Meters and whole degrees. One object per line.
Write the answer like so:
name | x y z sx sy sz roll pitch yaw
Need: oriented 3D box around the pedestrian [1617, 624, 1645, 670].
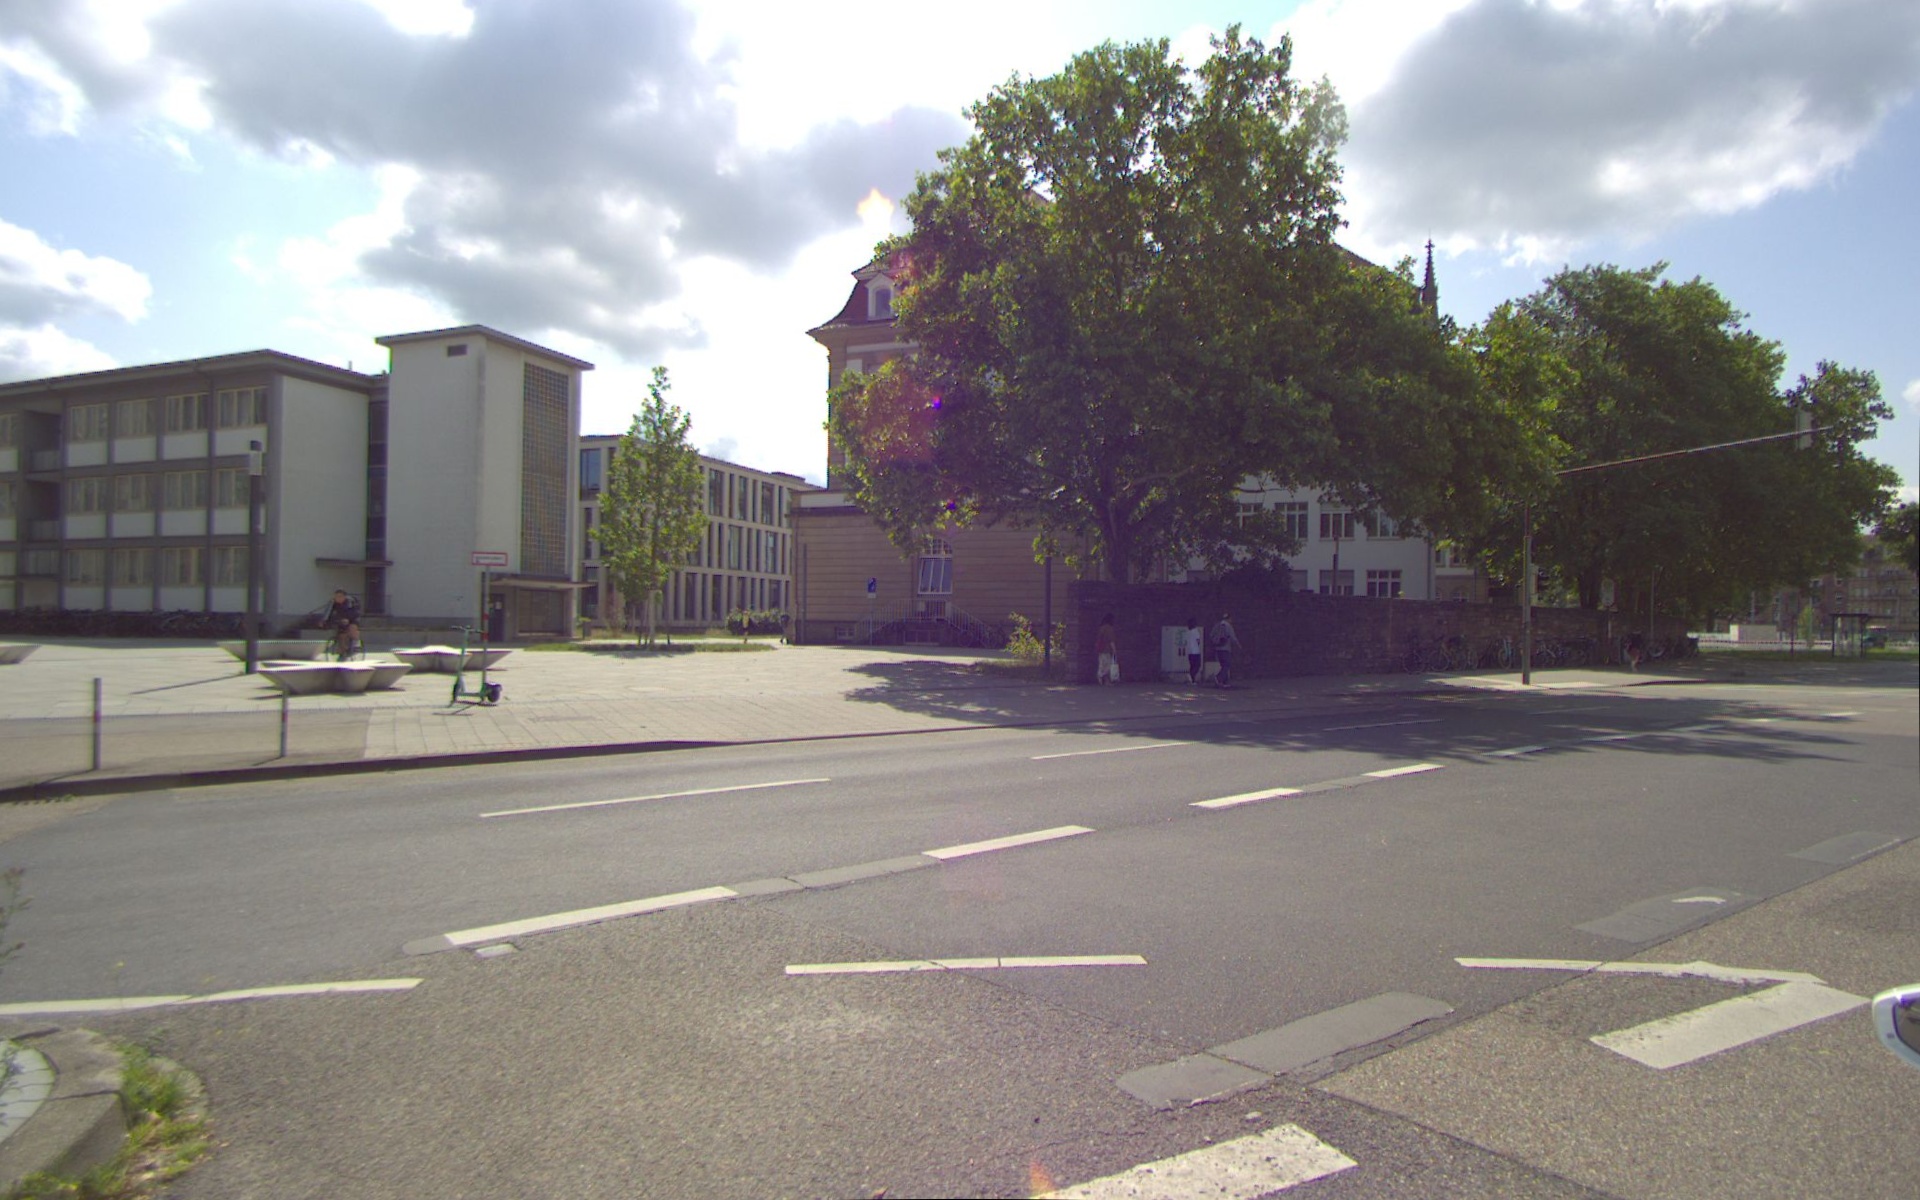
pedestrian | 24.351 1.683 36.454 0.738 1.631 0.651 2 0 -39

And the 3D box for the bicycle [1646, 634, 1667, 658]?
bicycle | 33.785 2.223 48.701 0.576 1.087 1.745 0 -1 43

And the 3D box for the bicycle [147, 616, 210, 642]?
bicycle | -31.721 1.171 40.812 0.683 1.027 1.909 0 -1 26

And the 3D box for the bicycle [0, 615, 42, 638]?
bicycle | -42.745 1.179 45.271 0.683 1.027 1.909 0 -1 26

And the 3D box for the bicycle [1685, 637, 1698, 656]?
bicycle | 42.537 2.705 58.406 0.575 1.087 1.625 0 -1 37

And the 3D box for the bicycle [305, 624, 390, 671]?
bicycle | -12.595 0.955 20.717 0.625 0.904 1.776 1 -1 1

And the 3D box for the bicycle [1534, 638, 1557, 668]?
bicycle | 21.640 1.953 37.121 0.584 1.062 1.876 0 -1 34

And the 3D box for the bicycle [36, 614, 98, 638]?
bicycle | -39.243 1.147 44.151 0.683 1.027 1.909 0 -1 26

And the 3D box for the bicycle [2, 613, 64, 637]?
bicycle | -41.430 1.119 44.901 0.683 1.027 1.909 0 -1 26

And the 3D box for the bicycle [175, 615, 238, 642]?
bicycle | -30.402 1.154 40.567 0.683 1.027 1.909 0 -1 26

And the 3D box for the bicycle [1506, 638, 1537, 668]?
bicycle | 20.564 1.922 36.747 1.866 1.062 0.367 2 -1 -41

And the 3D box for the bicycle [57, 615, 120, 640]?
bicycle | -37.294 1.175 43.019 0.683 1.027 1.909 0 -1 26

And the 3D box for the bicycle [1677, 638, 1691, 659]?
bicycle | 38.286 2.542 53.105 0.575 1.087 1.749 0 -1 37

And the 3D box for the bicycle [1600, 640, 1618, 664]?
bicycle | 27.449 2.186 42.474 0.362 0.968 1.394 0 -1 43

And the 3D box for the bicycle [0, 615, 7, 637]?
bicycle | -44.834 1.166 45.779 0.683 1.027 1.909 0 -1 26

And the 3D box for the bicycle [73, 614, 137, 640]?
bicycle | -36.095 1.140 42.429 0.683 1.027 1.909 0 -1 26

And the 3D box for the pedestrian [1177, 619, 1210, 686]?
pedestrian | 5.535 1.236 23.824 0.610 1.560 0.473 2 -1 -36

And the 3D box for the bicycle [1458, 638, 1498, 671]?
bicycle | 17.603 1.844 34.107 1.866 1.062 0.559 2 -1 -41

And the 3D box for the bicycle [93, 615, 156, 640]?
bicycle | -35.013 1.166 42.130 0.683 1.027 1.909 0 -1 26

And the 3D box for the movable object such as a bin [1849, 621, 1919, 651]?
movable object such as a bin | 96.906 3.769 105.043 5.430 2.923 2.290 1 -2 14

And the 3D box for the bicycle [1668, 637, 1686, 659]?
bicycle | 37.017 2.452 51.832 0.576 1.087 1.746 0 -1 42

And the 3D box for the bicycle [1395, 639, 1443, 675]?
bicycle | 14.243 1.748 31.145 1.866 1.062 0.624 2 -1 -41

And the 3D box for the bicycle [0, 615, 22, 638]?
bicycle | -43.879 1.190 45.506 0.683 1.027 1.909 0 -1 26

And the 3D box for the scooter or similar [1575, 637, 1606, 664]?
scooter or similar | 25.868 2.067 41.193 1.866 1.062 0.575 2 -1 -41

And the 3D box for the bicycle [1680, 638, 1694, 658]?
bicycle | 39.432 2.599 54.489 0.575 1.087 1.749 0 -1 37

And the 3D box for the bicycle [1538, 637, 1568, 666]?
bicycle | 22.824 1.973 38.646 1.866 1.062 0.390 2 -1 -41

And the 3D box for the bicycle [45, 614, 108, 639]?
bicycle | -38.277 1.145 43.550 0.683 1.027 1.909 0 -1 26

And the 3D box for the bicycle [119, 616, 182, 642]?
bicycle | -33.709 1.207 41.847 0.683 1.027 1.909 0 -1 26

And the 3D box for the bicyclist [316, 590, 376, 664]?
bicyclist | -12.591 0.551 20.632 0.619 1.484 0.947 1 -1 1

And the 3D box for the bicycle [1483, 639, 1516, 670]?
bicycle | 19.059 1.914 35.457 1.866 1.062 0.367 2 -1 -41

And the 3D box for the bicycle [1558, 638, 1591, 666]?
bicycle | 24.419 2.062 39.910 1.866 1.062 0.575 2 -1 -41

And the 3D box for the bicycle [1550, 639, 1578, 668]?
bicycle | 23.087 2.036 38.375 1.866 1.062 0.369 2 -1 -41

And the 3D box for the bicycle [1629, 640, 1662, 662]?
bicycle | 30.412 2.248 44.563 1.601 0.968 0.365 1 -1 -22

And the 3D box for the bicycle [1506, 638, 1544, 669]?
bicycle | 19.936 1.876 35.439 1.866 1.062 0.587 2 -1 -41

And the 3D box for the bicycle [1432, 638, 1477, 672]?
bicycle | 16.128 1.777 32.757 1.866 1.062 0.624 2 -1 -41

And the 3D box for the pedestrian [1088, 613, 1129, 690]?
pedestrian | 3.324 1.142 22.456 0.720 1.673 0.556 2 -1 -36

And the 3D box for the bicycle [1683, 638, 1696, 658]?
bicycle | 40.664 2.648 55.984 0.575 1.087 1.749 0 -1 37

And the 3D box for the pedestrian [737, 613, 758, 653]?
pedestrian | -10.980 1.696 51.953 0.673 2.040 0.869 1 -1 16

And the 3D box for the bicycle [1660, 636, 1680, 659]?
bicycle | 35.611 2.380 50.402 0.576 1.087 1.745 0 -1 43

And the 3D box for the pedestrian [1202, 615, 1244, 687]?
pedestrian | 6.203 1.198 23.729 0.724 1.673 0.636 2 -1 -36

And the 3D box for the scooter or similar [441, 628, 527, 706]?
scooter or similar | -7.525 1.033 15.858 1.476 1.172 0.502 0 -1 32

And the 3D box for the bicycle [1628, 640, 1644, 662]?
bicycle | 30.870 2.314 45.869 0.362 0.968 1.394 0 -1 43

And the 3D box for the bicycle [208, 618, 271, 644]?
bicycle | -28.386 1.219 39.627 0.683 1.027 1.909 0 -1 26

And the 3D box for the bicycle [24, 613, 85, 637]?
bicycle | -40.246 1.116 44.664 0.683 1.027 1.909 0 -1 26

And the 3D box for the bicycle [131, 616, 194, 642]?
bicycle | -32.726 1.175 41.245 0.683 1.027 1.909 0 -1 26

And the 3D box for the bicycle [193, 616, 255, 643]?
bicycle | -29.417 1.175 40.172 0.683 1.027 1.909 0 -1 26
